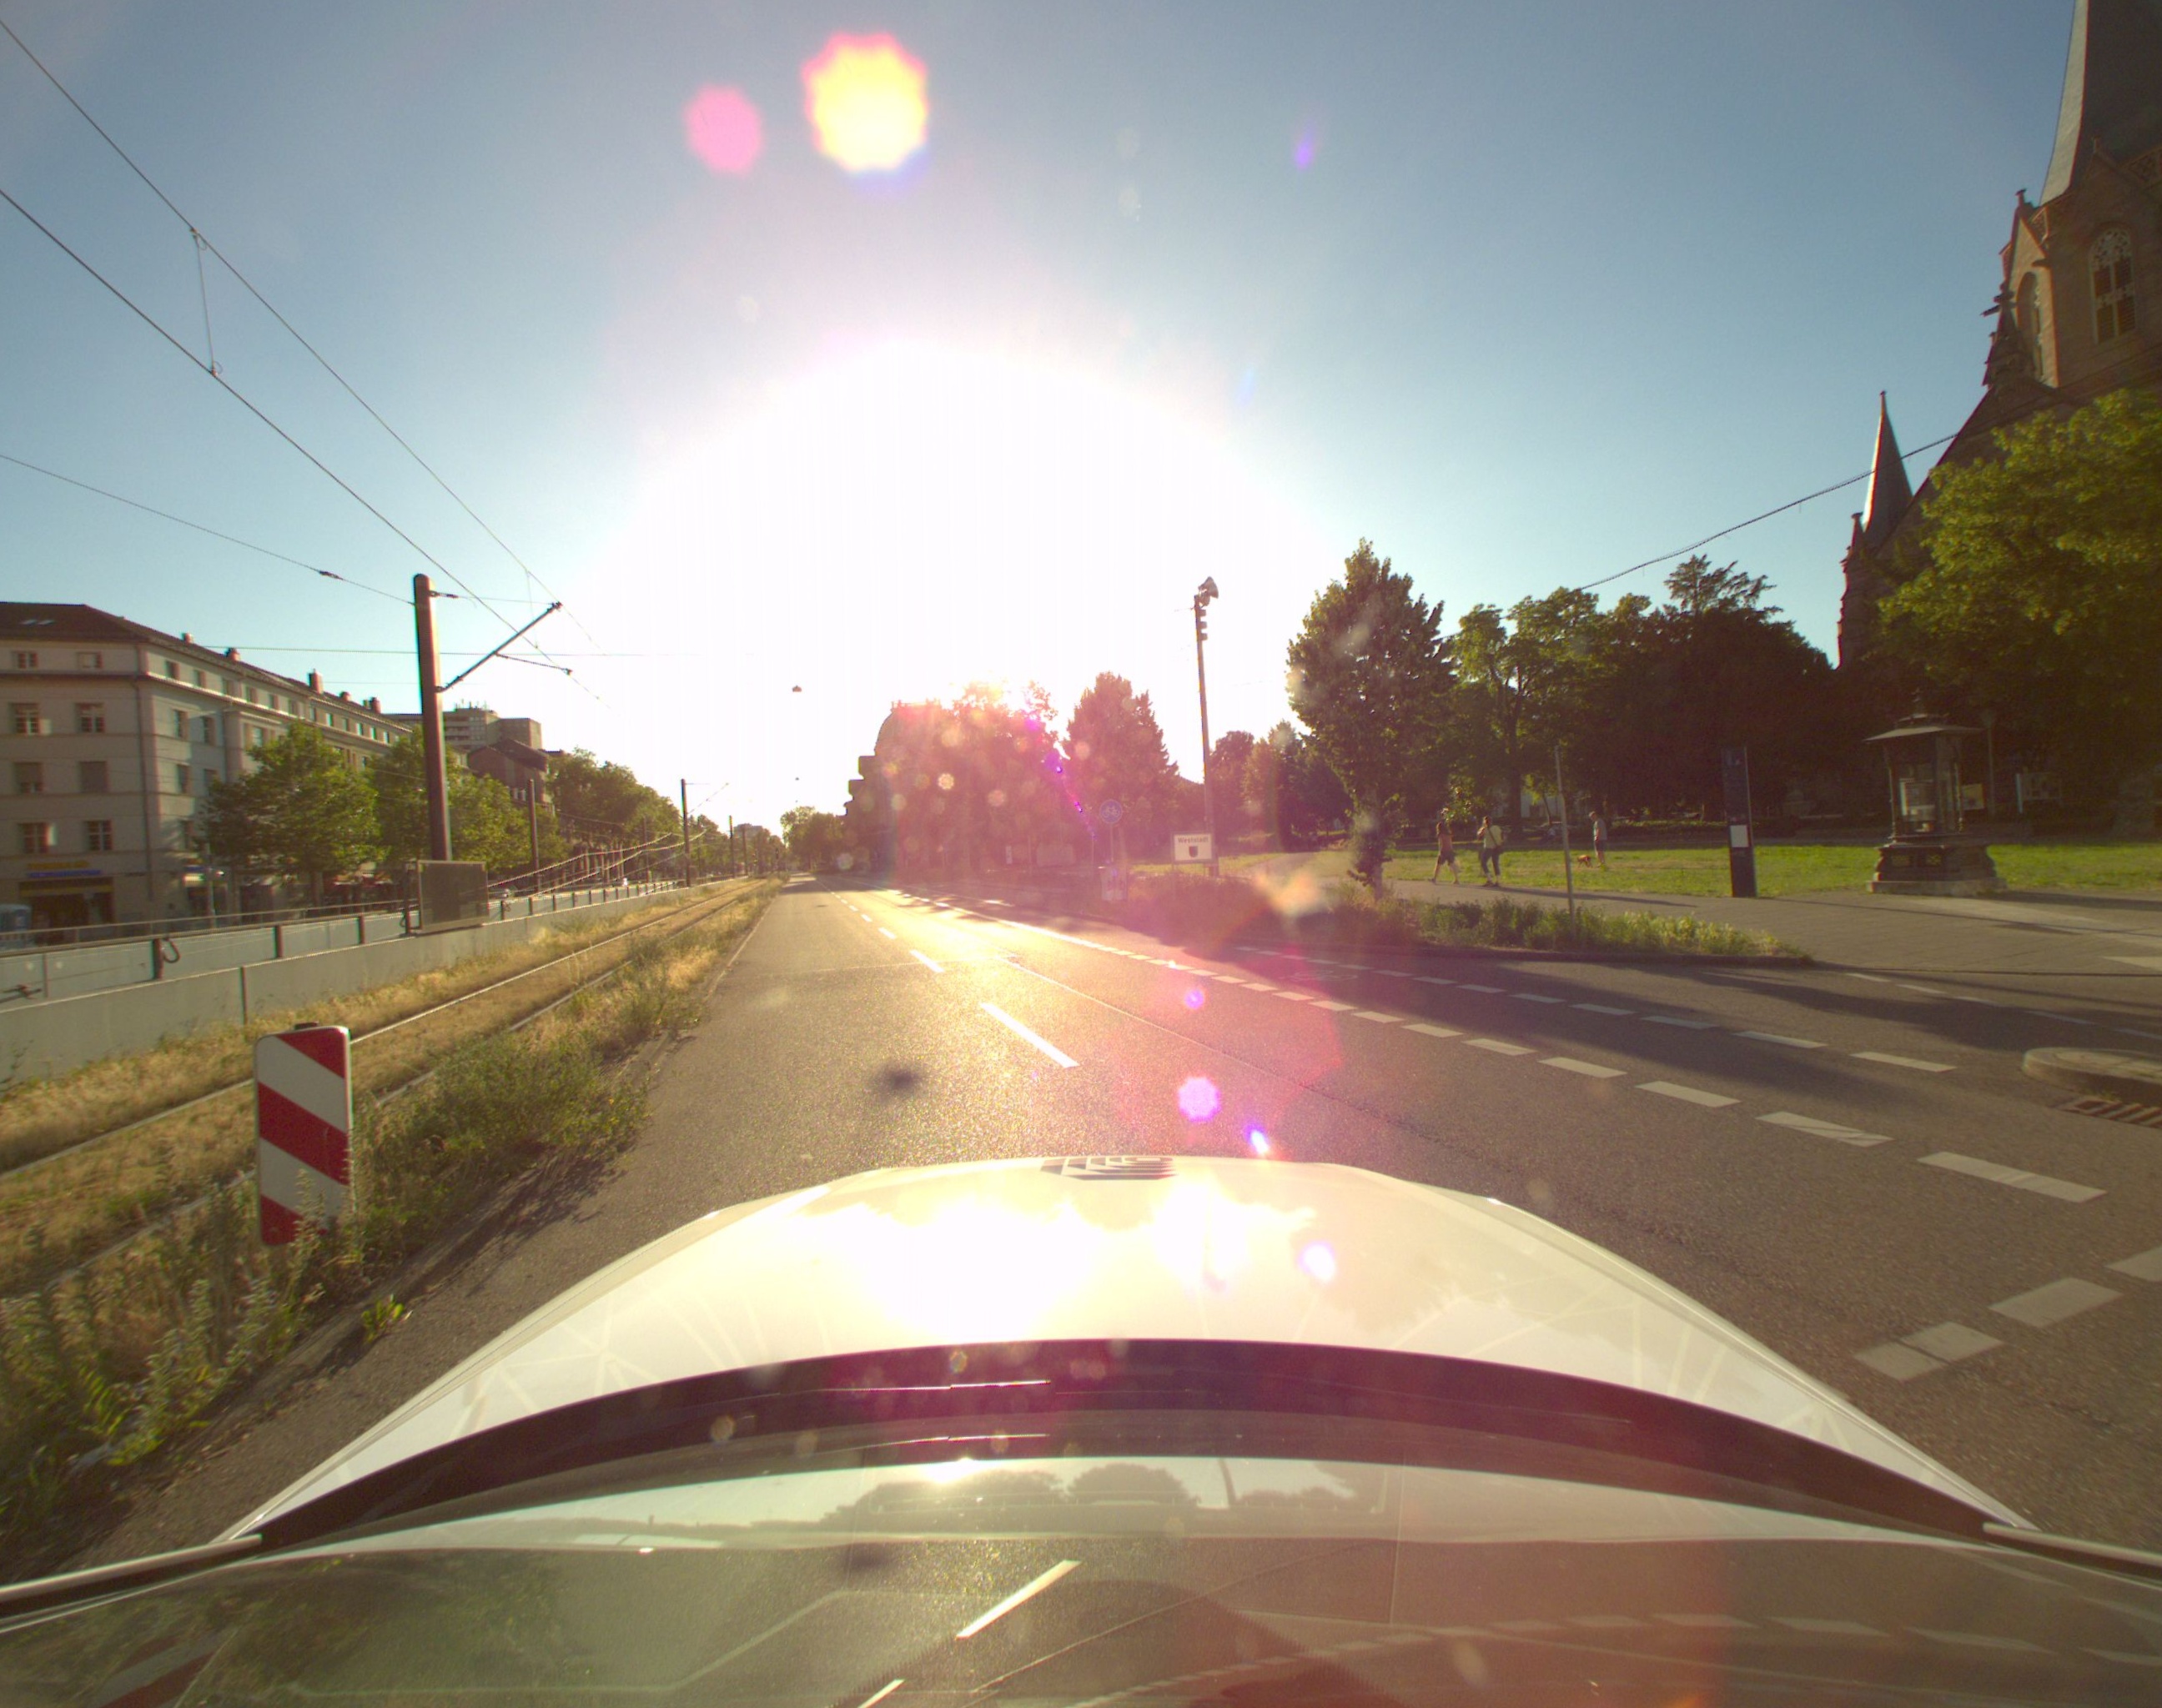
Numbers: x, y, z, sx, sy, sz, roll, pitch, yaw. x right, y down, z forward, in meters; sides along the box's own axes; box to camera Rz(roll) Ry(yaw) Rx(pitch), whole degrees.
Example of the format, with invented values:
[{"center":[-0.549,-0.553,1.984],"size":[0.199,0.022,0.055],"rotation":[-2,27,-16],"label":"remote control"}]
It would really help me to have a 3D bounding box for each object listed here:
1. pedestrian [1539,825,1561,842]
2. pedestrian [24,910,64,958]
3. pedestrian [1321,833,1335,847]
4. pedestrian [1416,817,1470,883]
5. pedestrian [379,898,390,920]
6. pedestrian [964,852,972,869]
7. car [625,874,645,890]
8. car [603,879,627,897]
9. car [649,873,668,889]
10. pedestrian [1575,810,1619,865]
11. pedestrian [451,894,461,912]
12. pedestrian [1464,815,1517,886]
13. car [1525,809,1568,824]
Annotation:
[{"center":[29.276,-1.290,50.832],"size":[1.180,0.953,0.795],"rotation":[-4,2,-39],"label":"pedestrian"},{"center":[-45.576,3.504,35.806],"size":[0.720,2.013,0.723],"rotation":[-3,0,-21],"label":"pedestrian"},{"center":[22.126,-1.262,72.938],"size":[0.813,1.187,0.840],"rotation":[-3,0,-19],"label":"pedestrian"},{"center":[9.707,-0.119,21.870],"size":[0.843,1.696,1.012],"rotation":[-4,1,-13],"label":"pedestrian"},{"center":[-57.683,4.536,67.440],"size":[0.491,1.708,0.546],"rotation":[-3,0,-19],"label":"pedestrian"},{"center":[-12.034,0.679,86.706],"size":[0.685,1.822,0.532],"rotation":[-3,0,-14],"label":"pedestrian"},{"center":[-70.669,4.379,129.080],"size":[2.000,2.244,3.974],"rotation":[-4,0,-19],"label":"car"},{"center":[-56.612,4.143,99.024],"size":[2.003,2.013,3.968],"rotation":[-4,0,-24],"label":"car"},{"center":[-58.179,3.715,112.267],"size":[2.003,2.013,3.968],"rotation":[-4,0,-24],"label":"car"},{"center":[16.577,-0.535,26.178],"size":[0.836,1.696,1.020],"rotation":[-3,1,11],"label":"pedestrian"},{"center":[-61.329,4.812,79.897],"size":[0.491,1.708,0.546],"rotation":[-3,0,-19],"label":"pedestrian"},{"center":[10.229,-0.105,20.372],"size":[0.708,1.696,0.892],"rotation":[-4,1,-12],"label":"pedestrian"},{"center":[59.808,-4.869,104.718],"size":[2.006,1.571,4.422],"rotation":[-4,0,-29],"label":"car"}]
